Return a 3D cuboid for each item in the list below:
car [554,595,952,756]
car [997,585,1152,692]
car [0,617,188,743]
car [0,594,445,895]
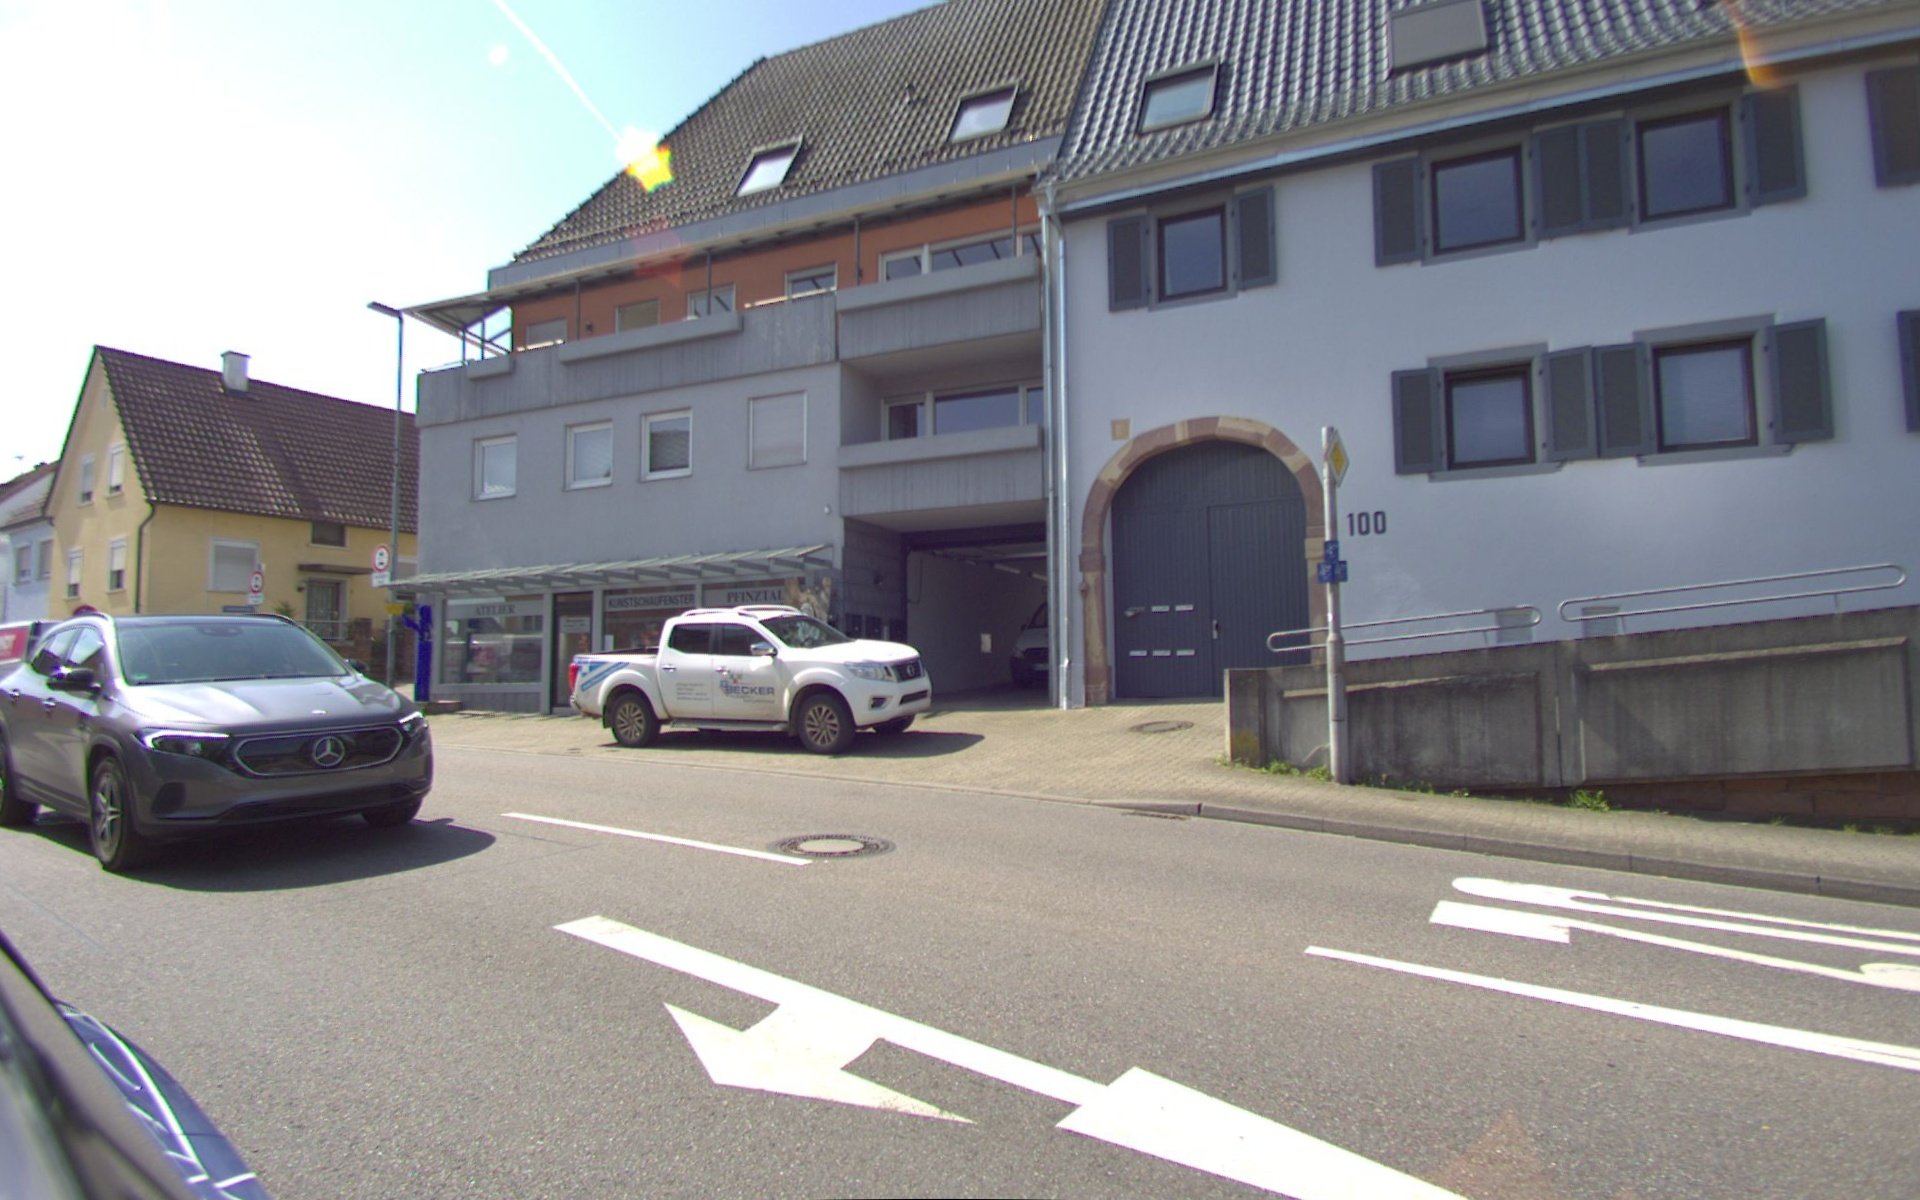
[{"bbox_3d":[-2.874,0.987,13.699,5.259,1.811,1.794,-3,0,27],"label":"car"},{"bbox_3d":[2.522,0.804,21.416,1.868,2.029,4.084,-2,-2,28],"label":"car"},{"bbox_3d":[-16.024,1.404,17.987,5.298,1.948,1.952,-3,-5,33],"label":"car"},{"bbox_3d":[-5.675,0.884,7.317,4.280,1.585,1.718,-4,-3,35],"label":"car"}]
